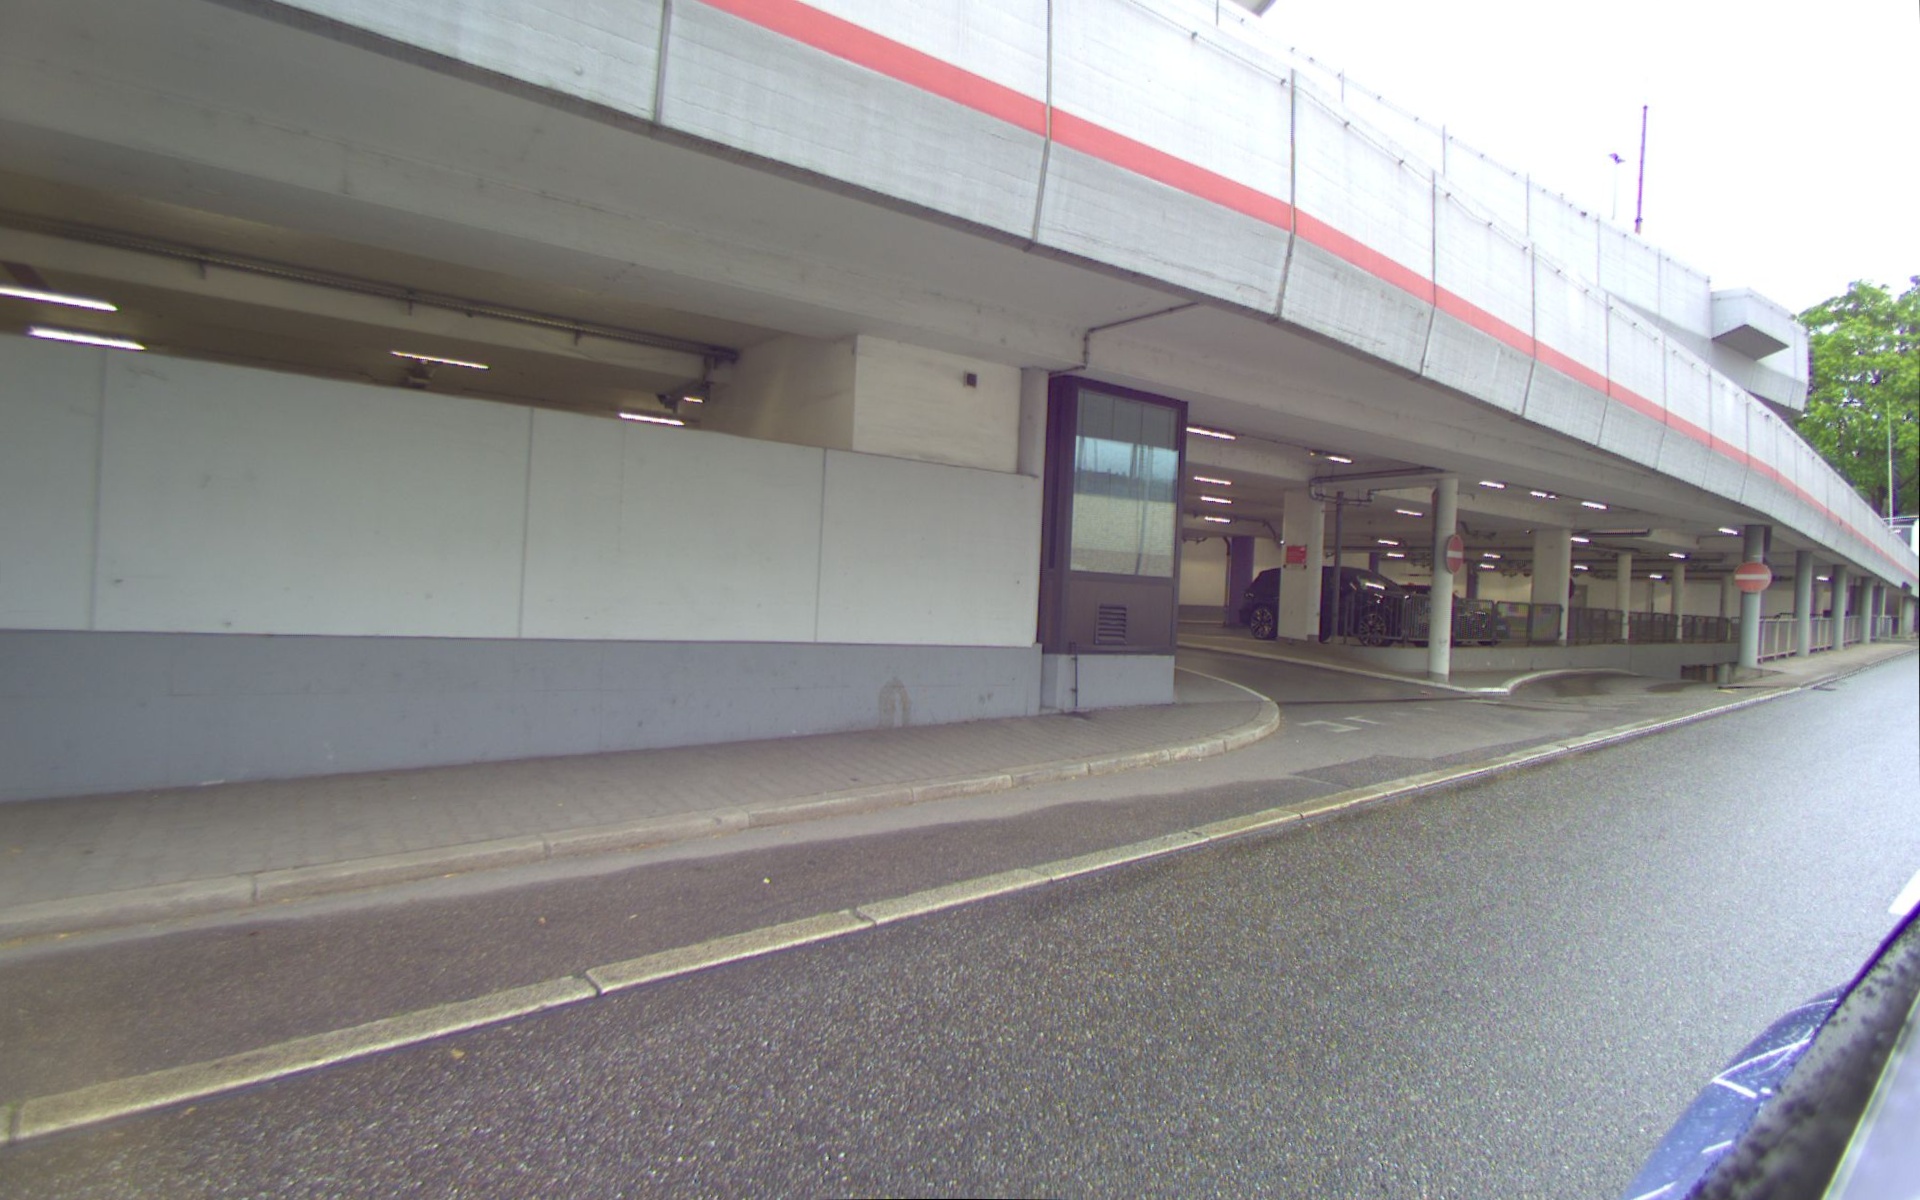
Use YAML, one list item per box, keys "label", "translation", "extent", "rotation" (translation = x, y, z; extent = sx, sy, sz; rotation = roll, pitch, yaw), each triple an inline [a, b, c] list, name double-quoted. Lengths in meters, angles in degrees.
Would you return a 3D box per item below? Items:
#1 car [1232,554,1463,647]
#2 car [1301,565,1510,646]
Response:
- label: "car"
  translation: [8.167, -0.011, 21.721]
  extent: [1.960, 1.682, 4.261]
  rotation: [5, -2, -31]
- label: "car"
  translation: [10.766, 0.098, 24.761]
  extent: [1.960, 1.682, 4.261]
  rotation: [5, -2, -31]
